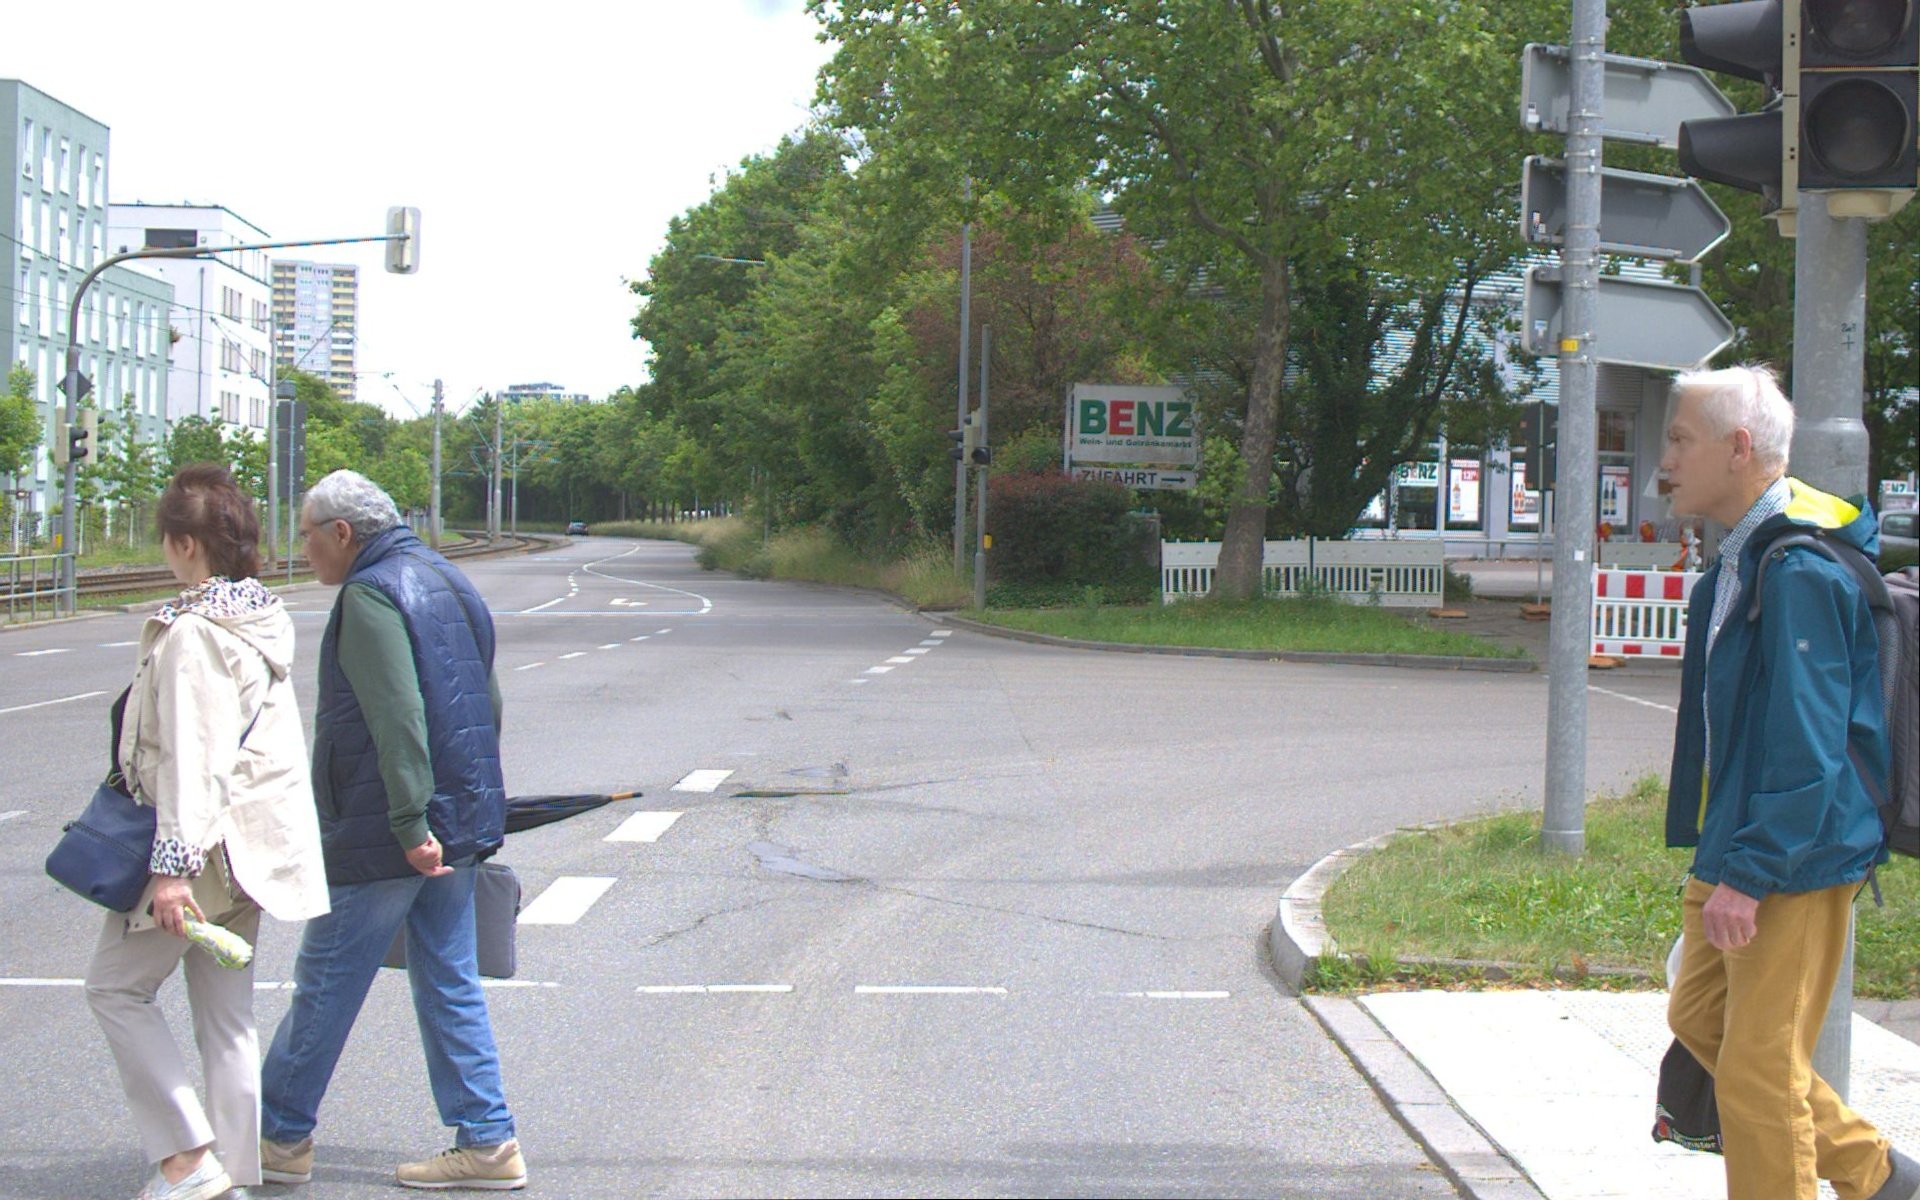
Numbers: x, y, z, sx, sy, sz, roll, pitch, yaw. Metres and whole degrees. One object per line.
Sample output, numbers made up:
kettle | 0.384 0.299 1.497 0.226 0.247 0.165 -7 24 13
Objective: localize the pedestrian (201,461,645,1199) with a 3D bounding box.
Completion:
pedestrian | -1.193 0.510 7.785 0.868 1.629 0.765 1 1 1

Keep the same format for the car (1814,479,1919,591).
car | 17.741 -1.187 62.571 1.993 2.007 4.000 0 2 -32

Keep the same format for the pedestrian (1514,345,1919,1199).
pedestrian | 1.551 0.436 6.376 1.010 1.768 0.948 1 1 10

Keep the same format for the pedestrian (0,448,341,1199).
pedestrian | -1.748 0.509 7.129 0.822 1.634 0.733 1 1 -4
